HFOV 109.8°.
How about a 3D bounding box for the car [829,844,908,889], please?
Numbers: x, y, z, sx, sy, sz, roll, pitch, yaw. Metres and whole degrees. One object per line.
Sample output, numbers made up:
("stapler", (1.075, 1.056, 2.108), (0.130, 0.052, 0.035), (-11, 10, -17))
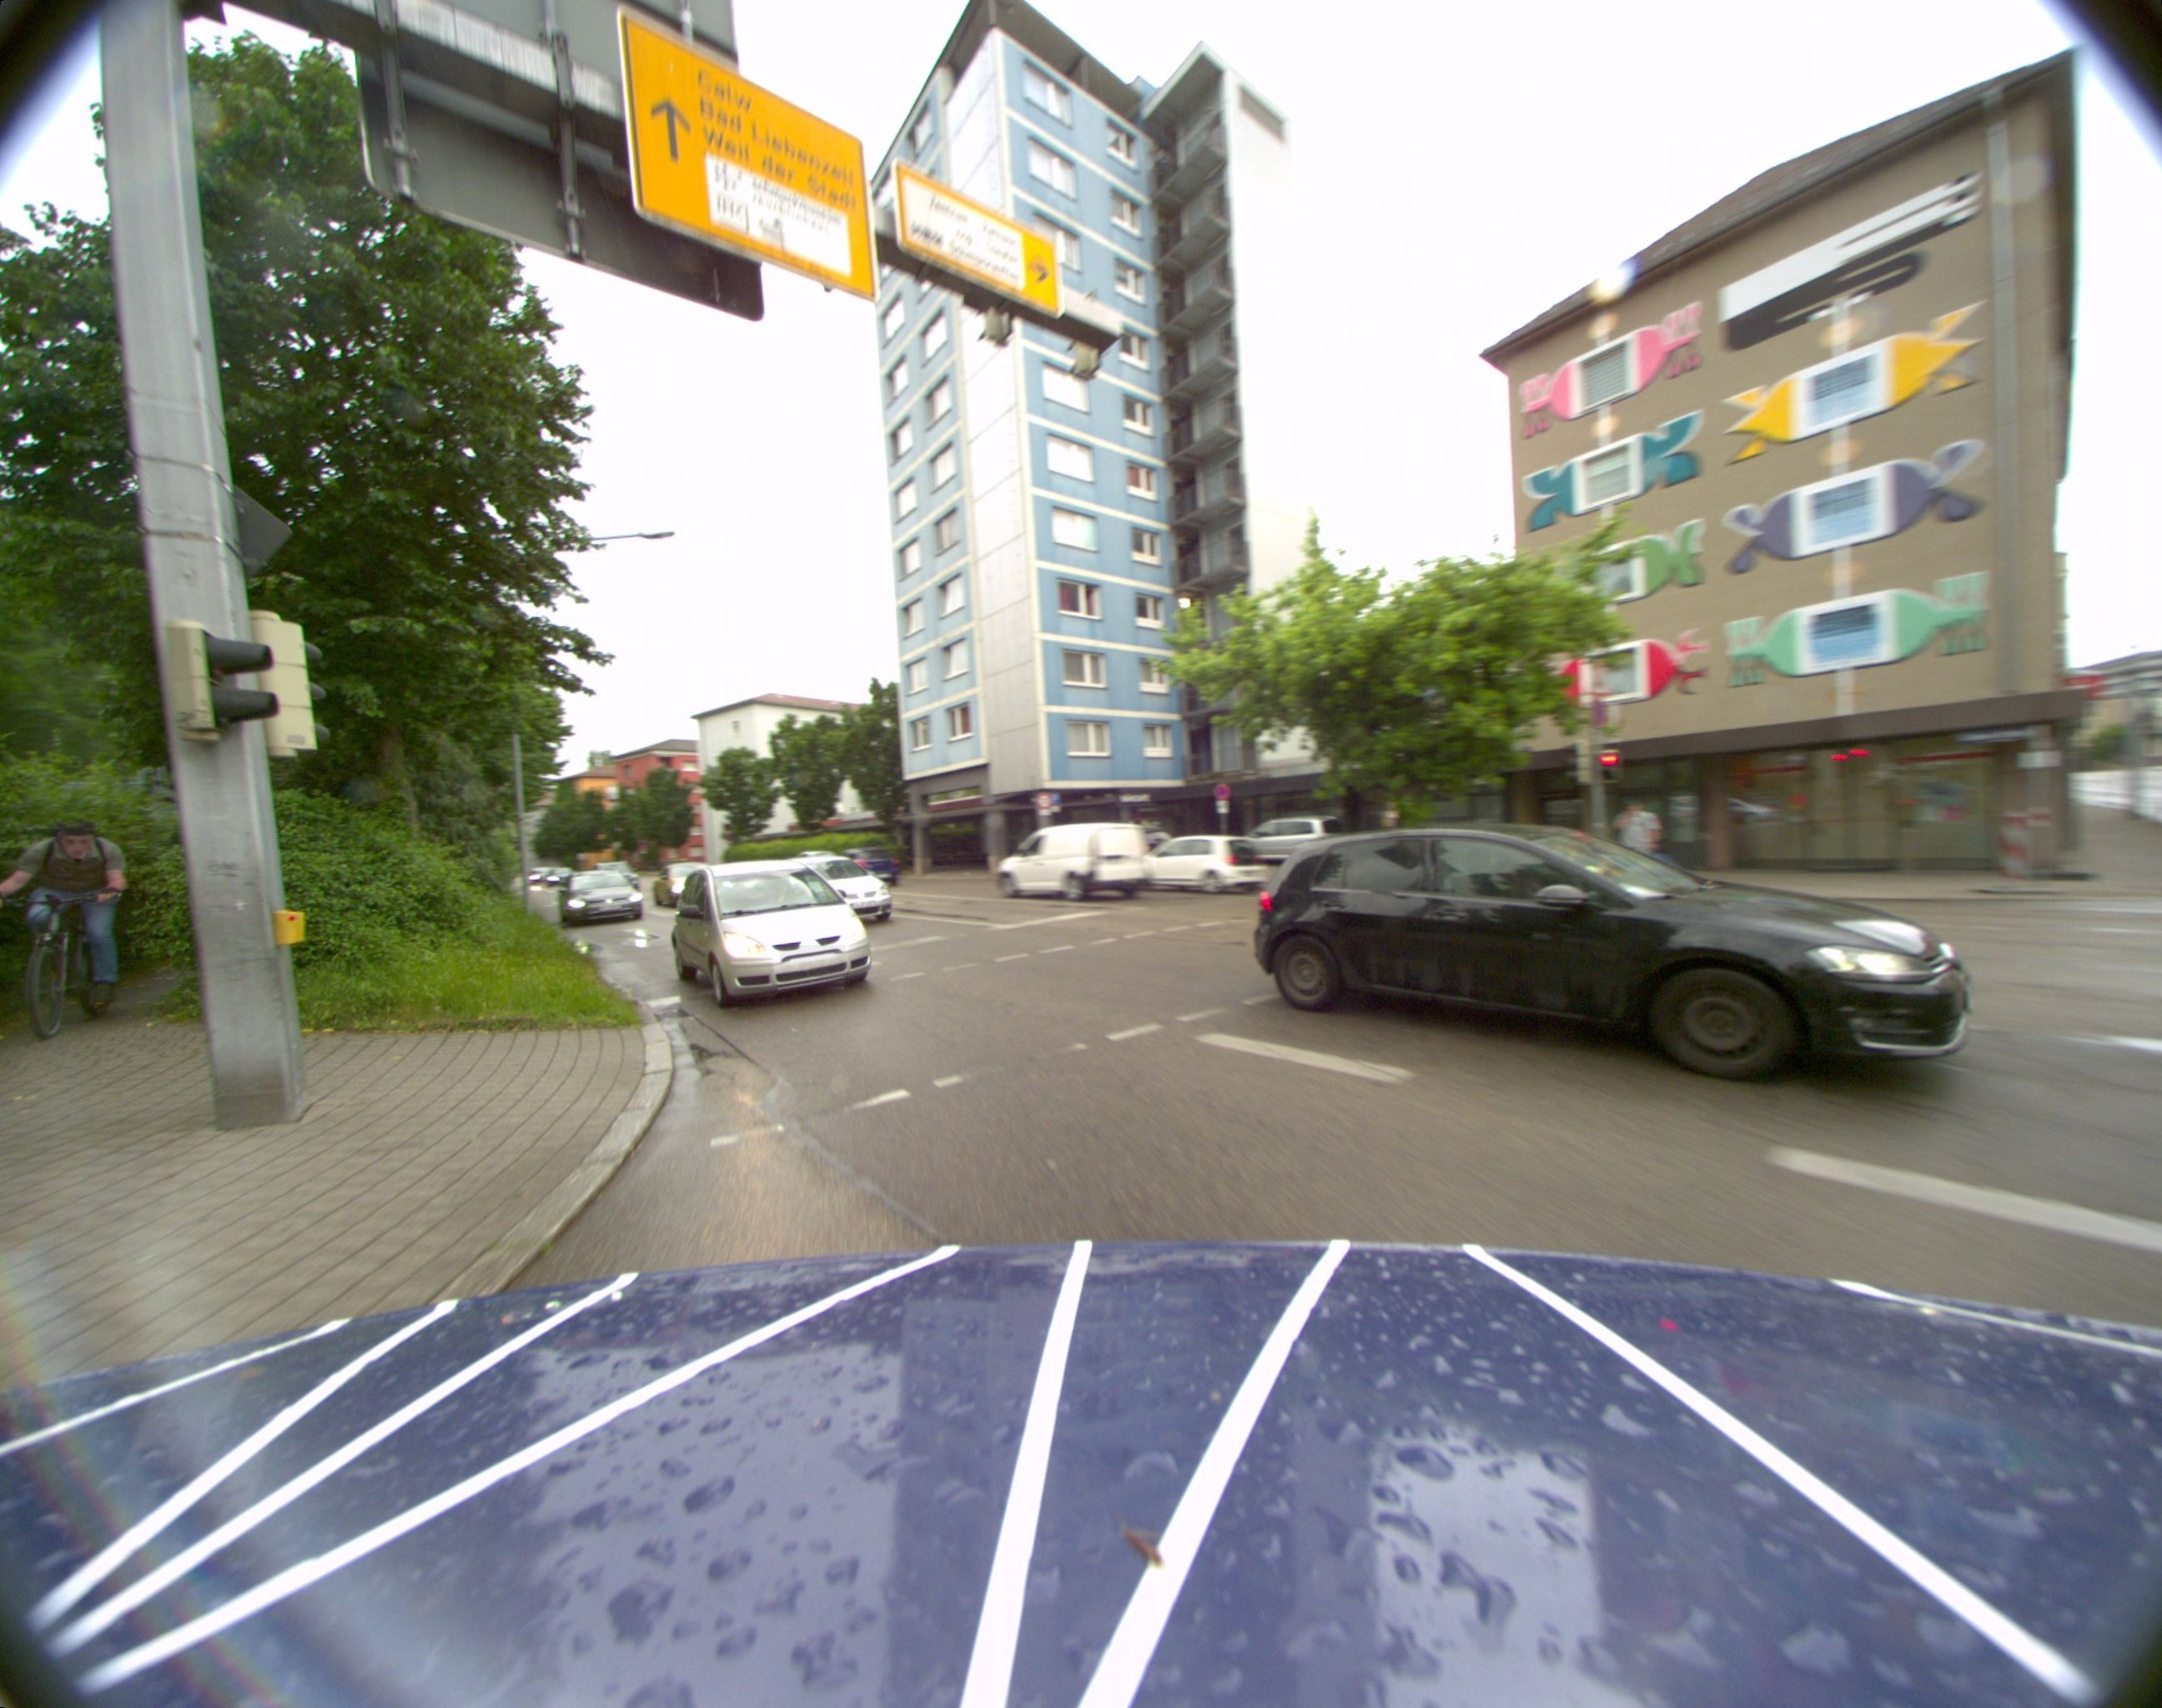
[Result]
("car", (-8.267, 0.464, 29.391), (1.619, 1.527, 3.443), (-4, 2, -39))

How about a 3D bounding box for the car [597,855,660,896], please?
("car", (-23.507, 1.064, 39.402), (1.993, 1.699, 4.568), (-11, 7, -38))

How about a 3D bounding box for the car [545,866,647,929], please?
("car", (-14.219, 1.213, 22.154), (1.690, 1.496, 4.490), (-7, 3, -41))

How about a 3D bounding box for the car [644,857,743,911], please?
("car", (-13.480, 0.958, 26.288), (1.994, 1.434, 4.568), (-10, 6, -38))

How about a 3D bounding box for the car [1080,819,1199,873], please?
("car", (1.943, -0.310, 26.487), (1.653, 1.657, 4.174), (-6, 5, -39))

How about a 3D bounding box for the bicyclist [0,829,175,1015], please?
("bicyclist", (-8.794, 0.551, 6.644), (0.890, 1.481, 0.966), (-3, 1, -39))

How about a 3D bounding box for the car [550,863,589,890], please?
("car", (-41.113, 1.755, 61.009), (1.993, 1.699, 4.568), (-11, 7, -38))

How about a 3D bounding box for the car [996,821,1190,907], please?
("car", (0.104, 0.207, 18.194), (1.761, 1.757, 5.101), (-4, 2, -38))

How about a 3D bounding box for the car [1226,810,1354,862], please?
("car", (7.376, -0.658, 27.127), (1.653, 1.657, 4.174), (-6, 5, -39))

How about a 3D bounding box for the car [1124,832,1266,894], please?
("car", (2.929, 0.223, 20.042), (1.711, 1.475, 3.432), (-1, 0, -39))

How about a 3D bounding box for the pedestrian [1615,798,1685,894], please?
("pedestrian", (10.922, -0.159, 14.588), (0.819, 1.764, 0.901), (-3, 3, -39))

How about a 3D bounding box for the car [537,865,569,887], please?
("car", (-51.043, 2.117, 73.432), (1.993, 1.699, 4.568), (-11, 7, -38))

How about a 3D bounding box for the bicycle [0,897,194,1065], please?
("bicycle", (-8.797, 1.030, 6.676), (0.890, 1.181, 2.128), (-3, 1, -39))

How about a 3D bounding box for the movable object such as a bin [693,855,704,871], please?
("movable object such as a bin", (-38.025, 0.892, 75.505), (0.787, 1.492, 0.816), (-2, 1, -20))

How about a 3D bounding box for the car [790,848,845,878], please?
("car", (-14.555, 0.477, 41.922), (1.654, 1.510, 3.707), (-2, 1, -39))

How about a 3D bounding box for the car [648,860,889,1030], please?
("car", (-4.080, 0.933, 9.561), (1.690, 1.497, 3.828), (-9, 5, -37))

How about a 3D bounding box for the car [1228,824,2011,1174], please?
("car", (3.229, 0.606, 5.337), (1.690, 1.417, 4.155), (-5, 3, -38))

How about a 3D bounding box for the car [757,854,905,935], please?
("car", (-5.522, 0.770, 16.478), (1.690, 1.417, 4.025), (-5, 3, -38))
